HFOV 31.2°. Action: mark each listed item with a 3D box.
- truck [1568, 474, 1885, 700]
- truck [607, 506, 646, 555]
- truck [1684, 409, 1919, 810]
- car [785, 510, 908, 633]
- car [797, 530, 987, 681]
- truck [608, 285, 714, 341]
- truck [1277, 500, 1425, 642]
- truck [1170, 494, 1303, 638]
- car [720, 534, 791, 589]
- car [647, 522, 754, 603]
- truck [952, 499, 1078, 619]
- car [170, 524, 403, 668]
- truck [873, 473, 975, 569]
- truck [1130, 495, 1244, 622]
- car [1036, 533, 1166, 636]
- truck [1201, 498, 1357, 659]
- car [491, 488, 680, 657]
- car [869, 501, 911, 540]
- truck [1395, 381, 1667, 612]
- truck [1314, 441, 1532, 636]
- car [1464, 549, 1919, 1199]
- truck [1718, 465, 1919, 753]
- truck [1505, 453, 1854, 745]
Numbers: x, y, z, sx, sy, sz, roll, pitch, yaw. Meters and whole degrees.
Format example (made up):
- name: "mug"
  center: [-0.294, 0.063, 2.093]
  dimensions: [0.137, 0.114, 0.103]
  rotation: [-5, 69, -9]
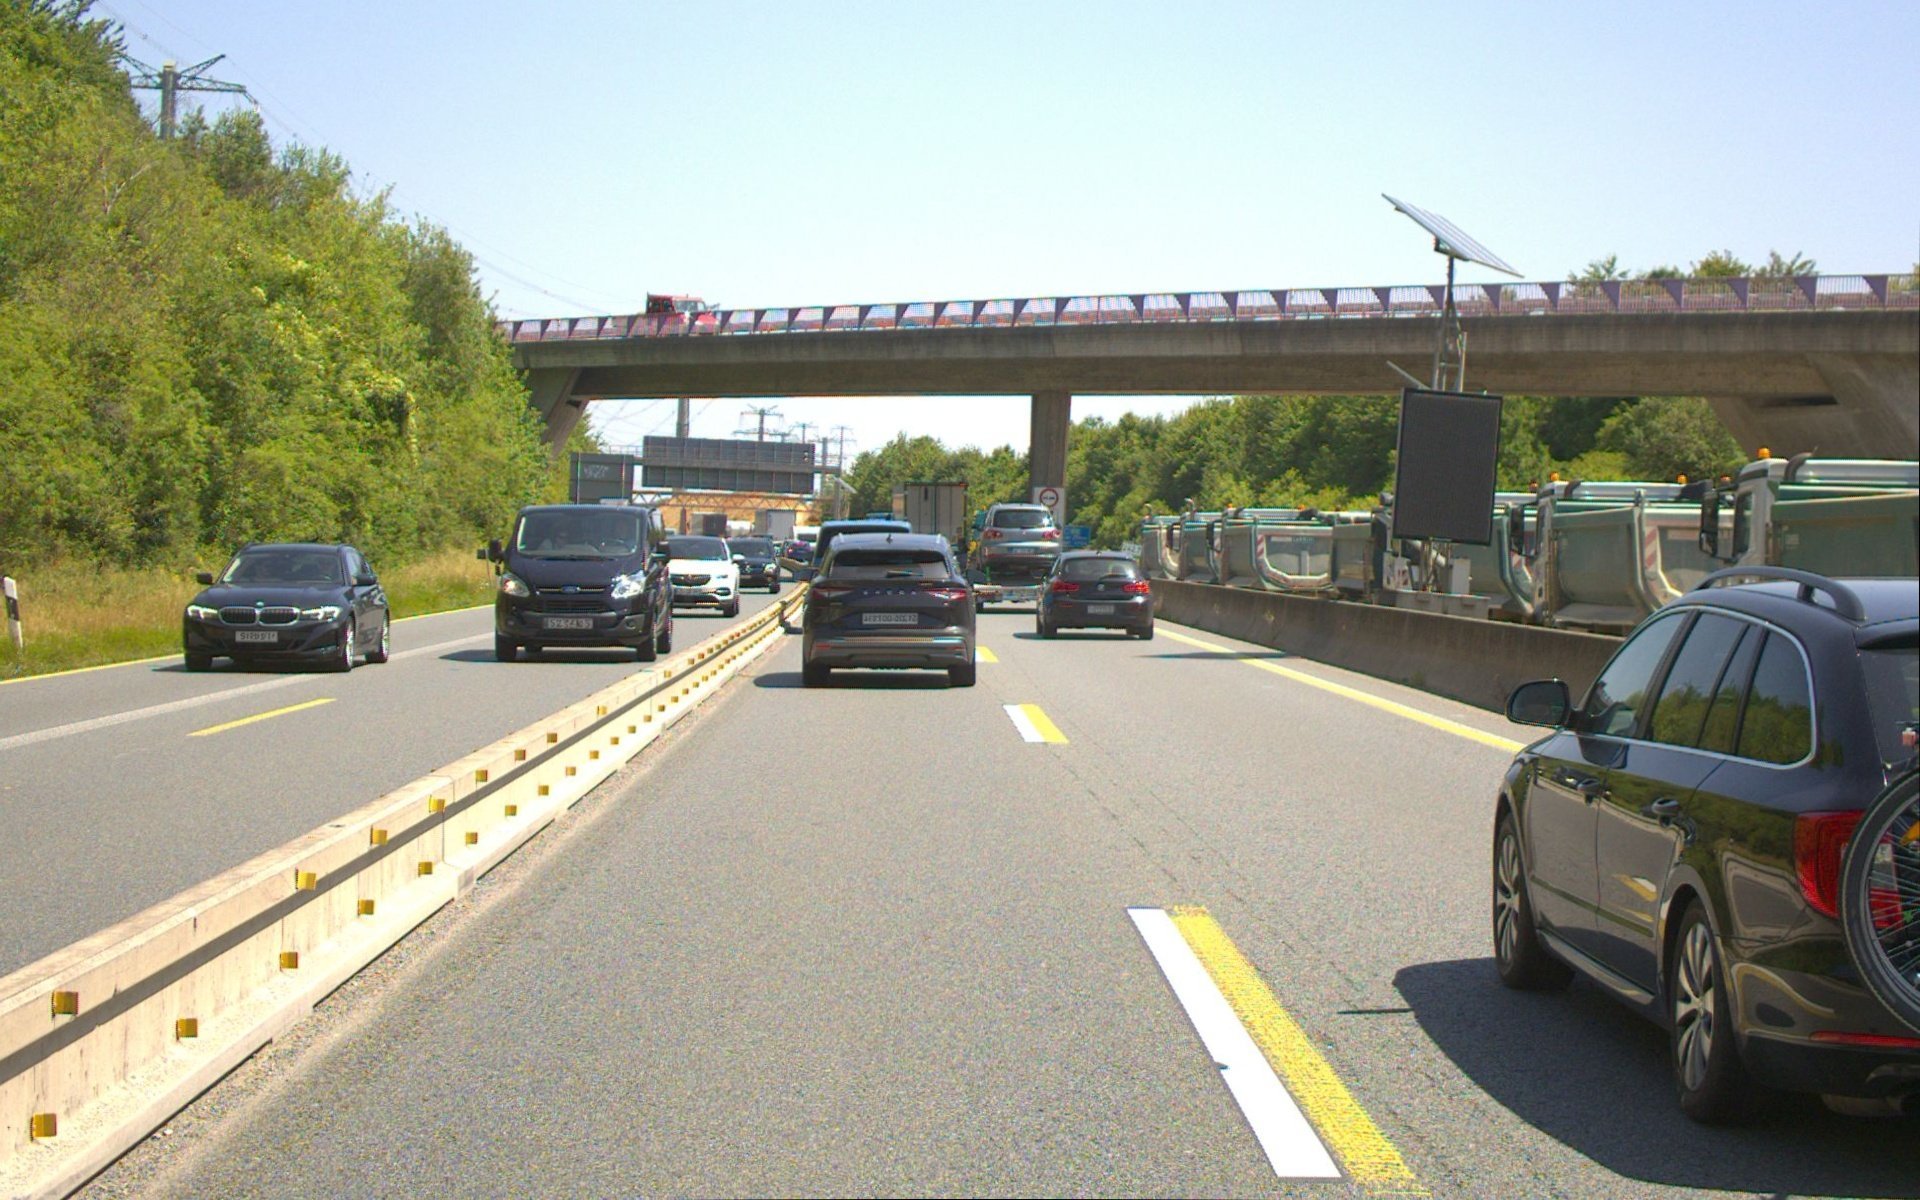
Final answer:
- name: "truck"
  center: [12.438, -0.279, 56.775]
  dimensions: [2.687, 3.366, 9.604]
  rotation: [1, 1, -2]
- name: "truck"
  center: [-22.826, -4.743, 234.919]
  dimensions: [2.508, 3.175, 10.112]
  rotation: [1, 1, -6]
- name: "truck"
  center: [9.760, 0.026, 34.635]
  dimensions: [2.687, 3.545, 9.603]
  rotation: [1, 1, -1]
- name: "car"
  center: [-1.872, -0.495, 57.900]
  dimensions: [1.899, 1.962, 4.276]
  rotation: [1, 1, 0]
- name: "car"
  center: [-0.705, 0.023, 37.157]
  dimensions: [1.899, 1.500, 4.276]
  rotation: [1, 1, 0]
- name: "truck"
  center: [-13.021, -12.446, 149.354]
  dimensions: [1.931, 2.059, 5.514]
  rotation: [1, 1, -37]
- name: "truck"
  center: [10.789, -0.854, 95.702]
  dimensions: [2.687, 3.714, 9.326]
  rotation: [1, 1, -2]
- name: "truck"
  center: [7.755, -1.005, 97.545]
  dimensions: [2.687, 3.842, 9.326]
  rotation: [1, 1, -2]
- name: "car"
  center: [-6.052, -1.155, 102.203]
  dimensions: [1.843, 1.528, 4.671]
  rotation: [2, 1, -1]
- name: "car"
  center: [-5.214, -0.780, 69.434]
  dimensions: [1.843, 1.528, 4.671]
  rotation: [2, 1, -1]
- name: "truck"
  center: [1.176, -0.980, 78.086]
  dimensions: [2.405, 2.549, 7.501]
  rotation: [1, 1, -2]
- name: "car"
  center: [-7.653, -0.085, 39.440]
  dimensions: [1.793, 1.520, 4.531]
  rotation: [1, 1, -1]
- name: "truck"
  center: [-1.580, -3.311, 145.175]
  dimensions: [3.292, 3.832, 10.112]
  rotation: [1, 1, -6]
- name: "truck"
  center: [7.192, -1.360, 110.129]
  dimensions: [2.687, 3.830, 9.326]
  rotation: [1, 1, -2]
- name: "car"
  center: [2.267, -0.280, 56.357]
  dimensions: [1.899, 1.580, 4.276]
  rotation: [1, 1, 0]
- name: "truck"
  center: [7.870, -0.602, 85.996]
  dimensions: [2.687, 3.748, 9.326]
  rotation: [1, 1, -2]
- name: "car"
  center: [-4.725, -0.378, 43.992]
  dimensions: [1.890, 2.007, 4.818]
  rotation: [1, 1, -1]
- name: "car"
  center: [-3.682, -4.171, 180.251]
  dimensions: [1.899, 1.962, 4.277]
  rotation: [1, 1, -5]
- name: "truck"
  center: [9.524, -1.706, 58.418]
  dimensions: [2.687, 3.545, 9.326]
  rotation: [1, 1, -2]
- name: "truck"
  center: [9.034, -1.223, 68.180]
  dimensions: [2.687, 3.545, 9.326]
  rotation: [1, 1, -2]
- name: "car"
  center: [2.744, 0.631, 9.565]
  dimensions: [1.899, 1.485, 4.948]
  rotation: [1, 1, 0]
- name: "truck"
  center: [12.384, 0.040, 45.014]
  dimensions: [2.687, 3.366, 9.603]
  rotation: [1, 1, 0]
- name: "truck"
  center: [9.610, -0.092, 47.067]
  dimensions: [2.687, 3.545, 9.407]
  rotation: [1, 1, 0]
